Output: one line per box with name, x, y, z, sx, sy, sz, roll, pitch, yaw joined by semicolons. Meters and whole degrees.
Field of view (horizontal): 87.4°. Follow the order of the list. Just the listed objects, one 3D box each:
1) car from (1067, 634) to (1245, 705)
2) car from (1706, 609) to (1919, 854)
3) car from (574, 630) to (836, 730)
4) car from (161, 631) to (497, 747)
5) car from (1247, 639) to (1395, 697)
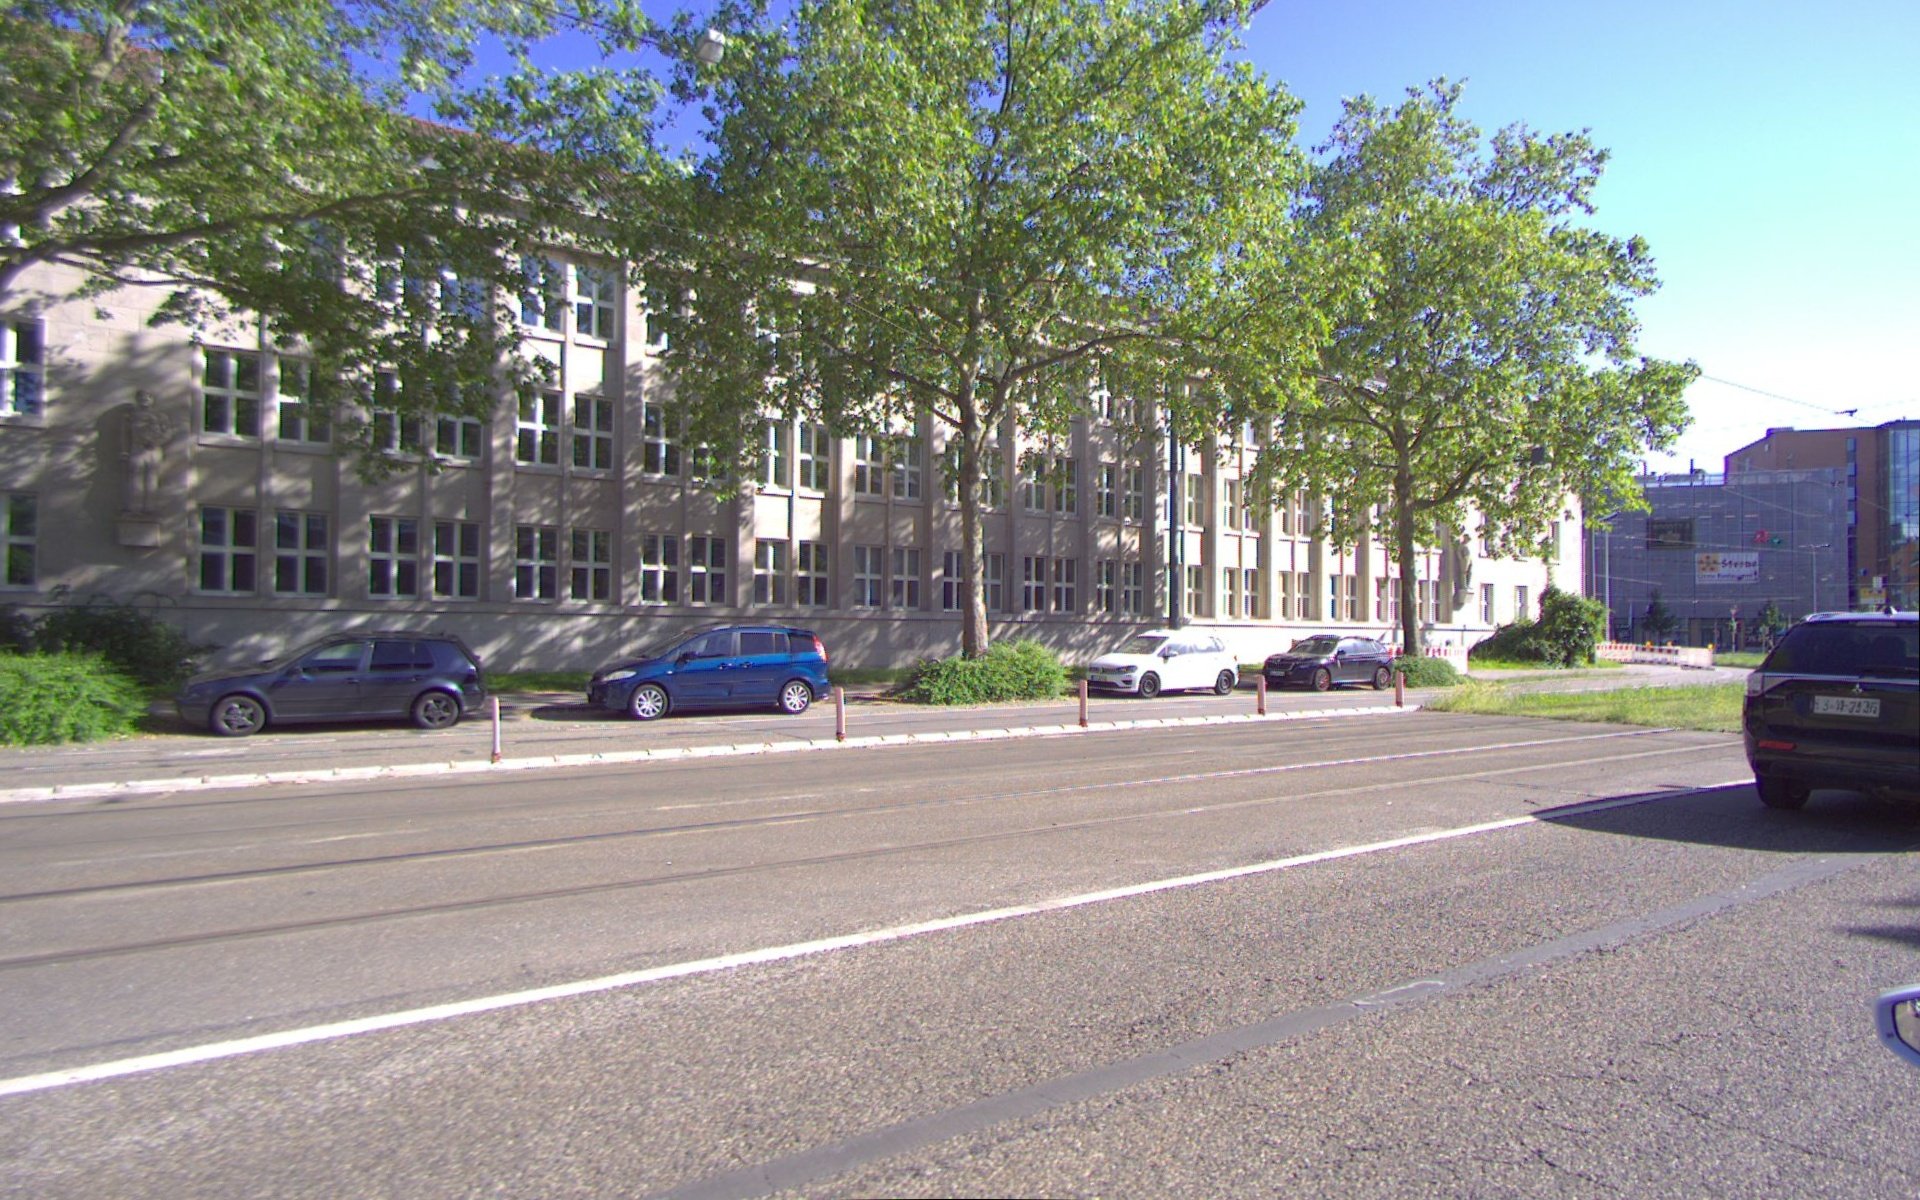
car;4.909;1.688;24.916;4.350;1.608;1.819;2;-3;-34
car;8.425;1.008;8.572;4.593;1.704;1.826;2;-2;-33
car;-4.648;1.400;18.596;4.352;1.660;1.818;2;-2;-35
car;-9.519;1.278;15.426;4.147;1.568;1.661;2;-2;-35
car;10.260;1.887;28.481;4.135;1.512;1.820;2;-2;-32
